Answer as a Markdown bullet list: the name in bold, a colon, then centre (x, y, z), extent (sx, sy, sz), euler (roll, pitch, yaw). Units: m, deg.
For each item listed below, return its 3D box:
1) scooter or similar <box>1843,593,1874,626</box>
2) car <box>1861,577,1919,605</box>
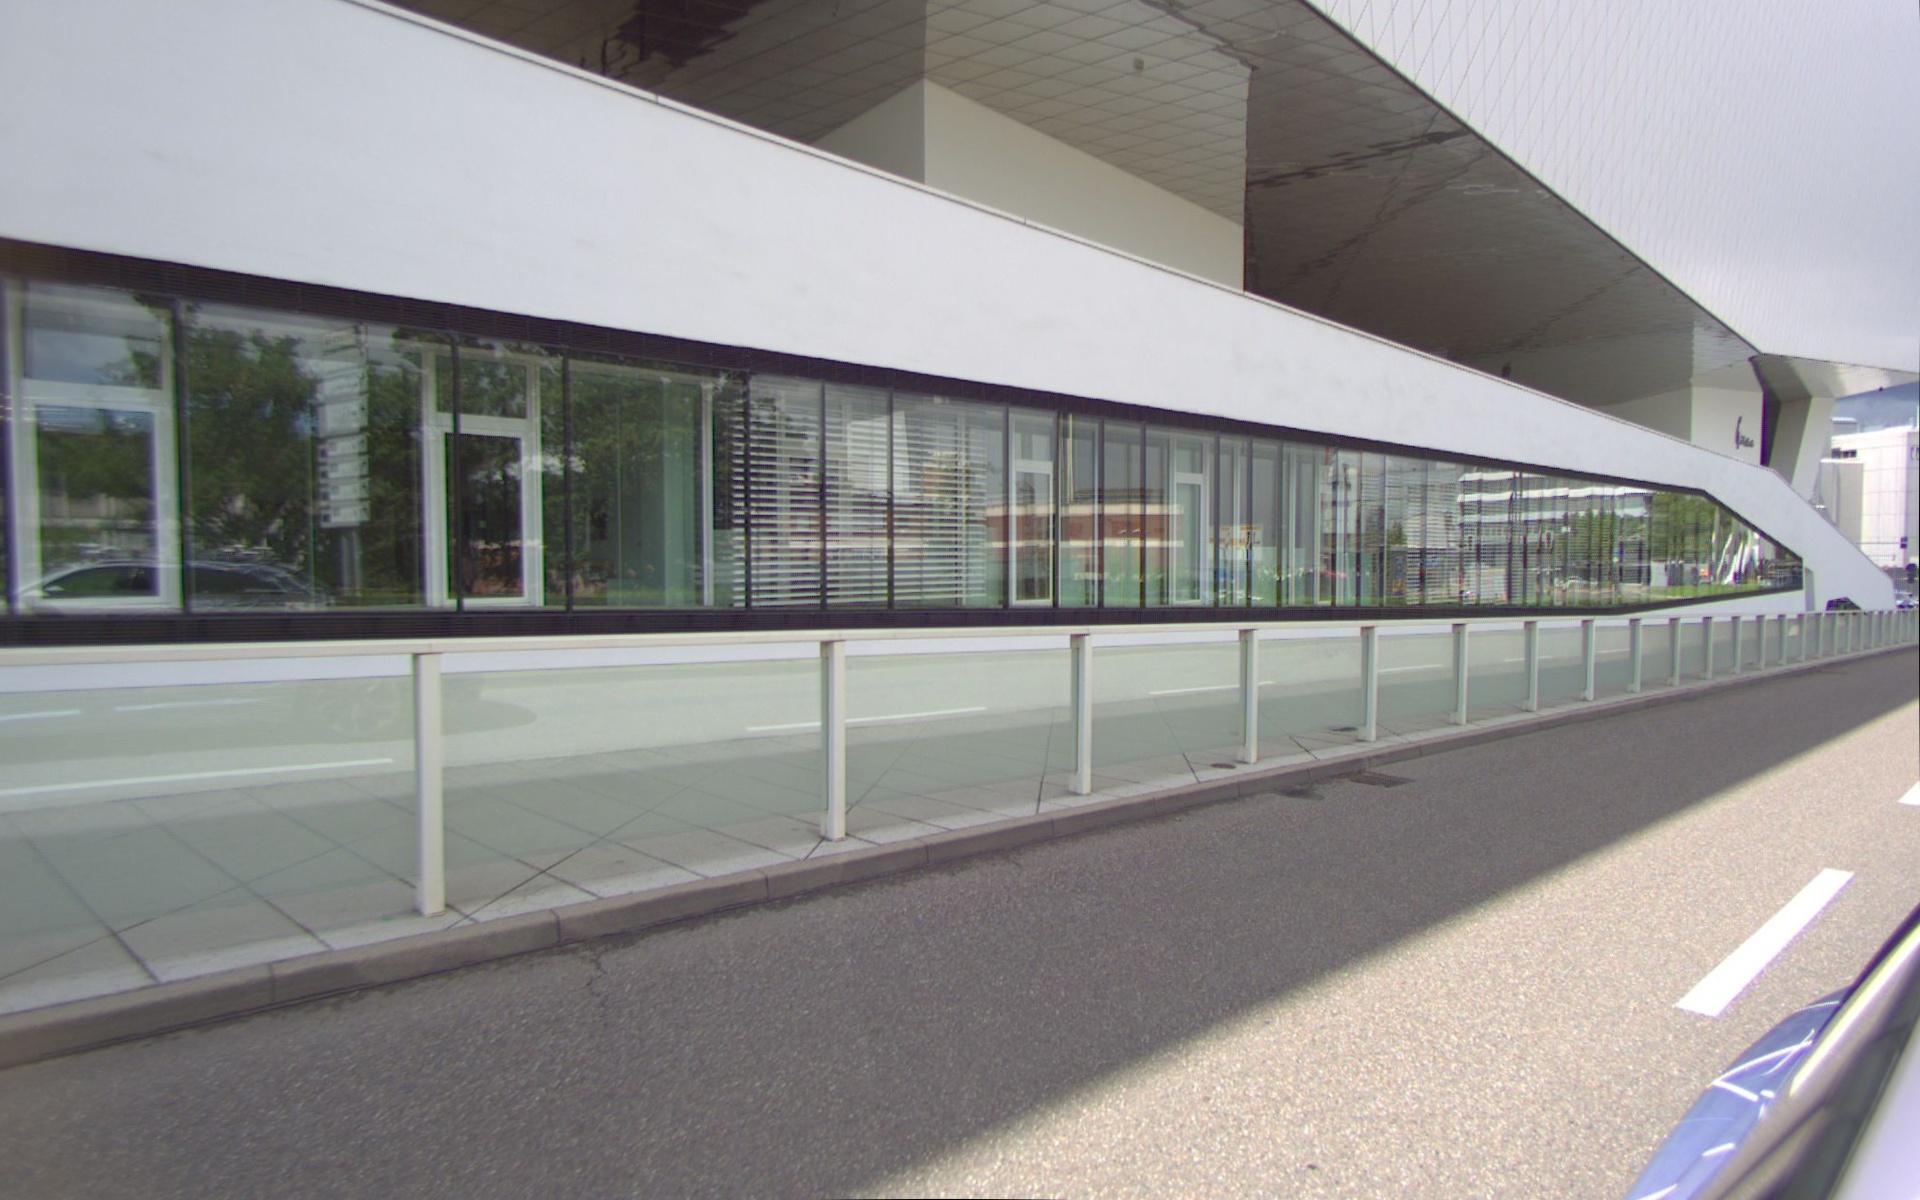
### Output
- **scooter or similar**: centre (36.777, 0.375, 41.414), extent (1.918, 1.258, 0.708), euler (-1, 2, -41)
- **car**: centre (69.063, -0.717, 74.661), extent (2.139, 1.934, 5.267), euler (1, 2, 22)
